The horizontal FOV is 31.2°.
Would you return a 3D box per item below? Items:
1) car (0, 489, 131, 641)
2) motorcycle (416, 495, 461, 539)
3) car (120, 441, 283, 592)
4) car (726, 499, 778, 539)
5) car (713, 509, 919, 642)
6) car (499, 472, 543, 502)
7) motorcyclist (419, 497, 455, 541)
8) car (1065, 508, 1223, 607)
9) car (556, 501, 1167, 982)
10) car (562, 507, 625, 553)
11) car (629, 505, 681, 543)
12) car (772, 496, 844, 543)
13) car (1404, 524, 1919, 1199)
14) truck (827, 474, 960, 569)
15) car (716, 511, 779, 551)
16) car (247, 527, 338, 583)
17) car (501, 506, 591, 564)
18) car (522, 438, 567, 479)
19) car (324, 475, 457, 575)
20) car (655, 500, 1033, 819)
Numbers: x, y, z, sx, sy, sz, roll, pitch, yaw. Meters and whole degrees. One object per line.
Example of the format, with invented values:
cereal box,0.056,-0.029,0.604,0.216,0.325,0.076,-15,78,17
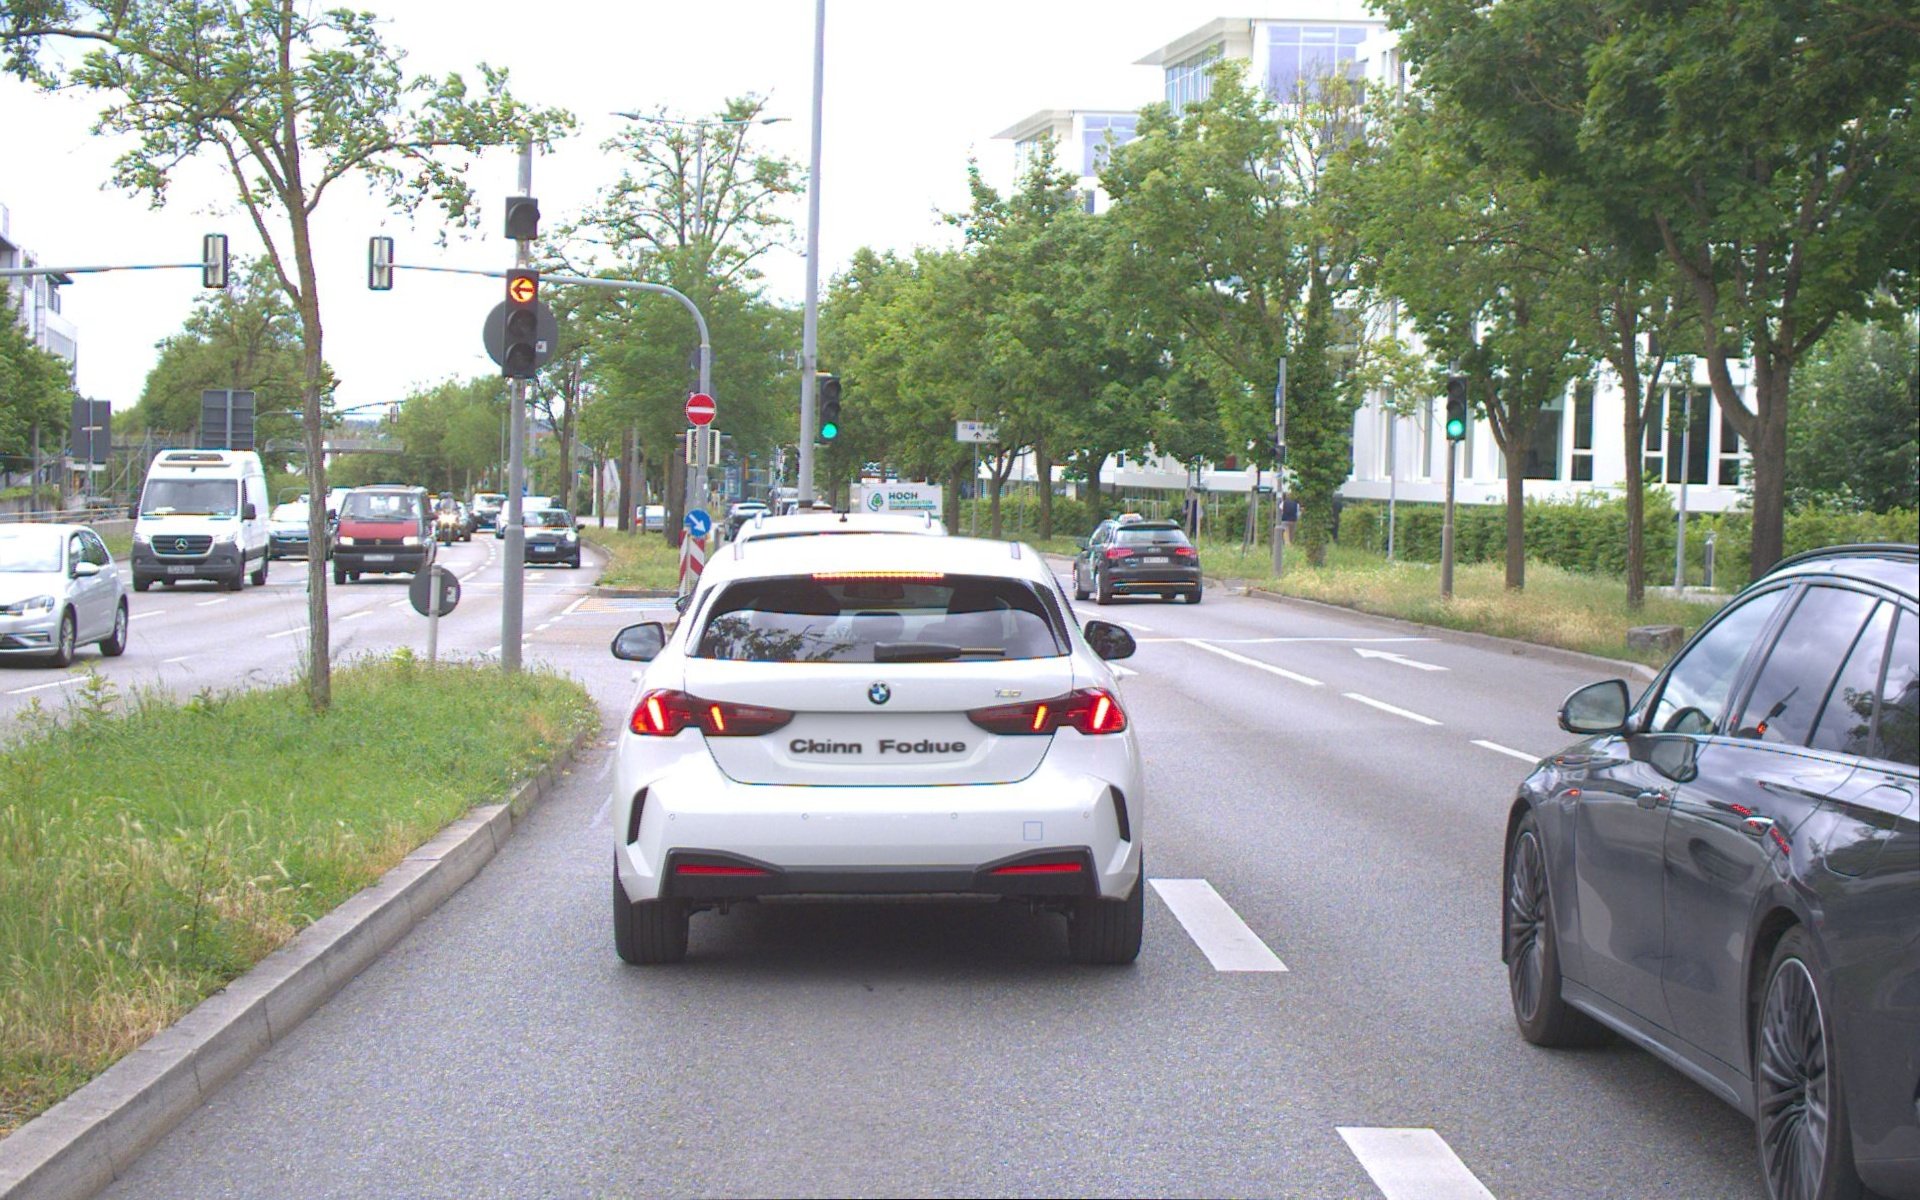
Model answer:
car,-9.883,-0.414,35.630,1.753,1.439,4.135,3,1,-4
motorcycle,-17.049,-2.729,112.478,0.889,1.393,4.000,1,1,-1
car,-14.208,-1.576,64.699,1.993,2.625,5.876,3,1,-4
car,-8.242,-3.222,136.510,1.993,1.485,4.001,2,1,-3
car,-1.704,-0.311,41.962,1.994,1.503,3.999,1,1,5
car,-24.990,-6.420,195.782,1.993,1.612,4.000,3,1,-1
motorcyclist,-17.056,-2.643,112.222,0.910,1.387,1.674,1,1,-1
car,3.080,-0.748,58.363,1.993,1.590,4.001,1,1,-7
car,-0.253,0.407,12.635,1.863,1.444,4.000,1,1,2
car,-12.083,-2.327,113.485,1.708,1.492,3.803,0,1,-1
car,-12.514,-3.120,141.182,1.993,1.485,4.001,2,1,-3
car,-5.044,-2.676,113.810,1.993,1.503,4.001,1,1,-8
car,2.502,0.588,8.060,2.053,1.481,4.974,1,1,-2
truck,-1.921,-2.178,96.005,2.858,2.511,6.289,1,1,-9
car,-8.268,-2.693,133.391,1.993,1.503,4.001,1,1,-9
car,-17.406,-1.194,89.761,1.708,1.414,3.803,0,1,-1
car,-9.974,-1.577,83.019,1.753,1.366,3.780,0,1,-1
car,-21.569,-7.343,178.618,1.993,2.004,4.325,3,1,-4
car,-11.500,-1.525,69.721,1.935,1.911,4.974,1,1,-1
car,-0.623,0.289,20.450,1.993,1.666,4.000,1,1,0
